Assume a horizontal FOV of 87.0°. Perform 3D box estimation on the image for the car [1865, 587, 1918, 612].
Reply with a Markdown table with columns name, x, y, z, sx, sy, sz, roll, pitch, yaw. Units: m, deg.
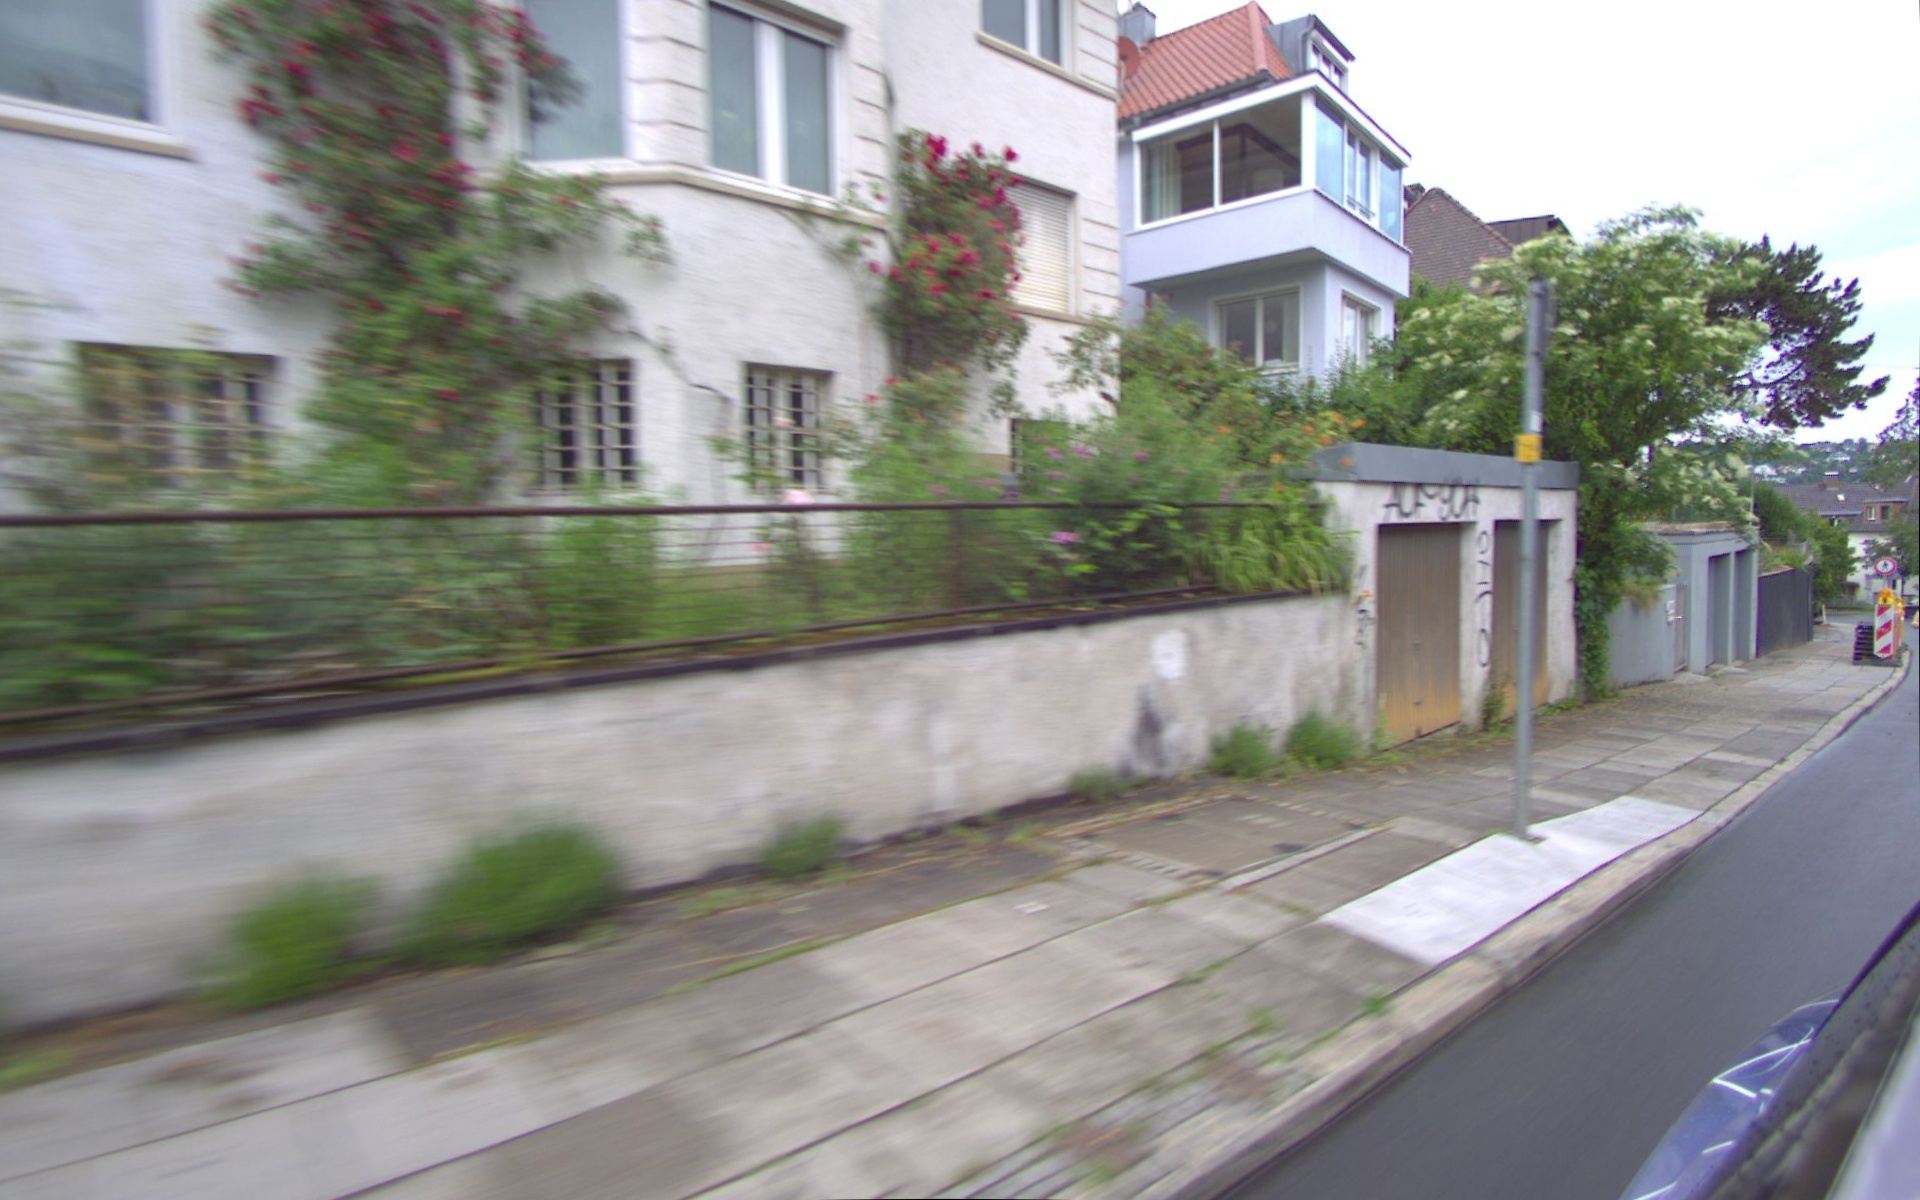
| name | x | y | z | sx | sy | sz | roll | pitch | yaw |
| --- | --- | --- | --- | --- | --- | --- | --- | --- | --- |
| car | 70.988 | -0.004 | 77.197 | 1.981 | 1.738 | 3.961 | 1 | -2 | 27 |
